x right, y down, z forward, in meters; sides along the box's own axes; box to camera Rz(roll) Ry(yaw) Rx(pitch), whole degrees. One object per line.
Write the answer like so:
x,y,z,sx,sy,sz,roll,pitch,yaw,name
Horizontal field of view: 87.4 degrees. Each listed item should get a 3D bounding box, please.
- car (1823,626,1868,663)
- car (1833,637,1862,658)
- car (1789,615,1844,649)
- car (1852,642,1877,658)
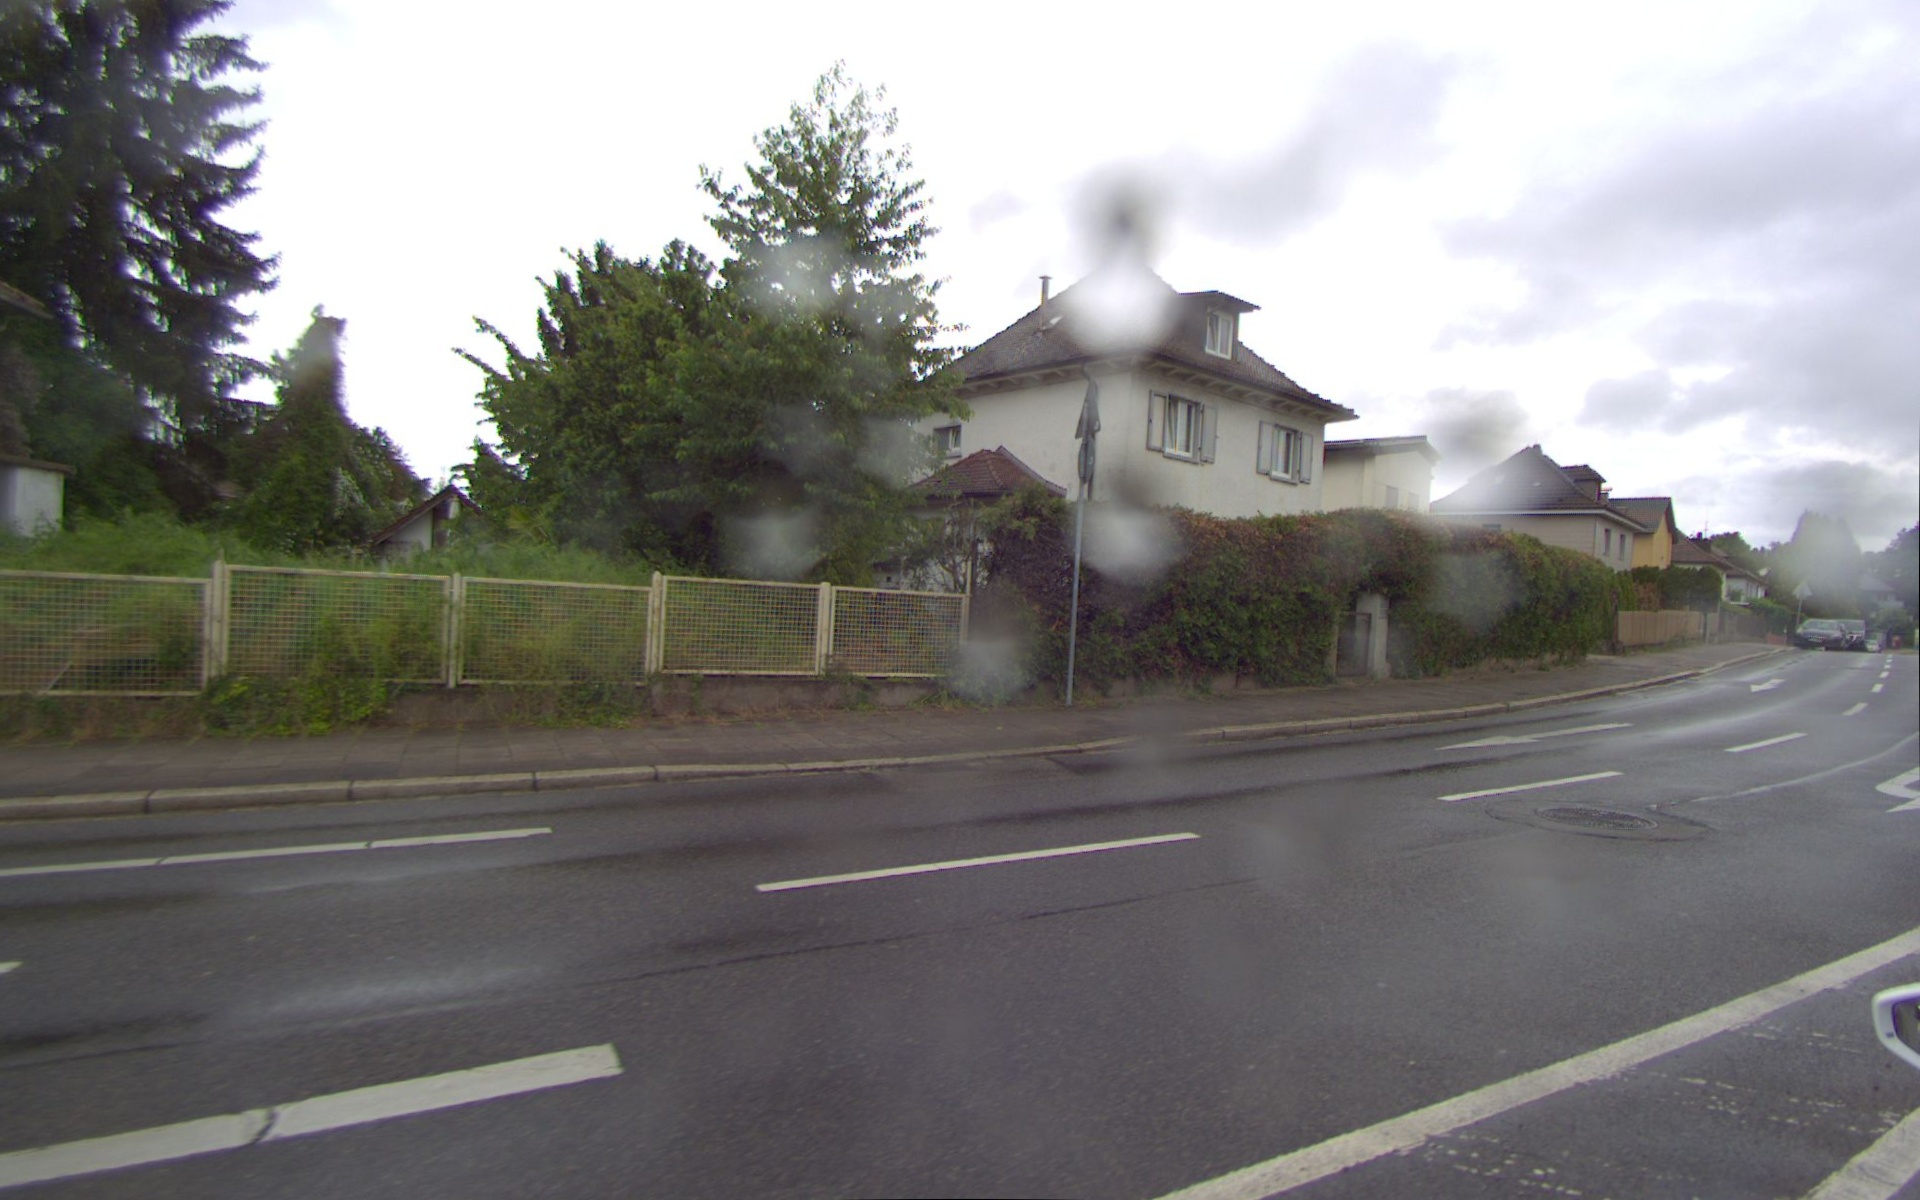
54.108,2.738,61.385,1.891,2.029,5.062,4,0,41,car
68.433,3.645,77.480,1.533,1.450,3.995,4,0,41,car
42.286,1.598,49.554,1.732,1.458,4.105,4,0,44,car
100.142,5.550,111.220,1.864,1.606,3.977,4,0,44,car
